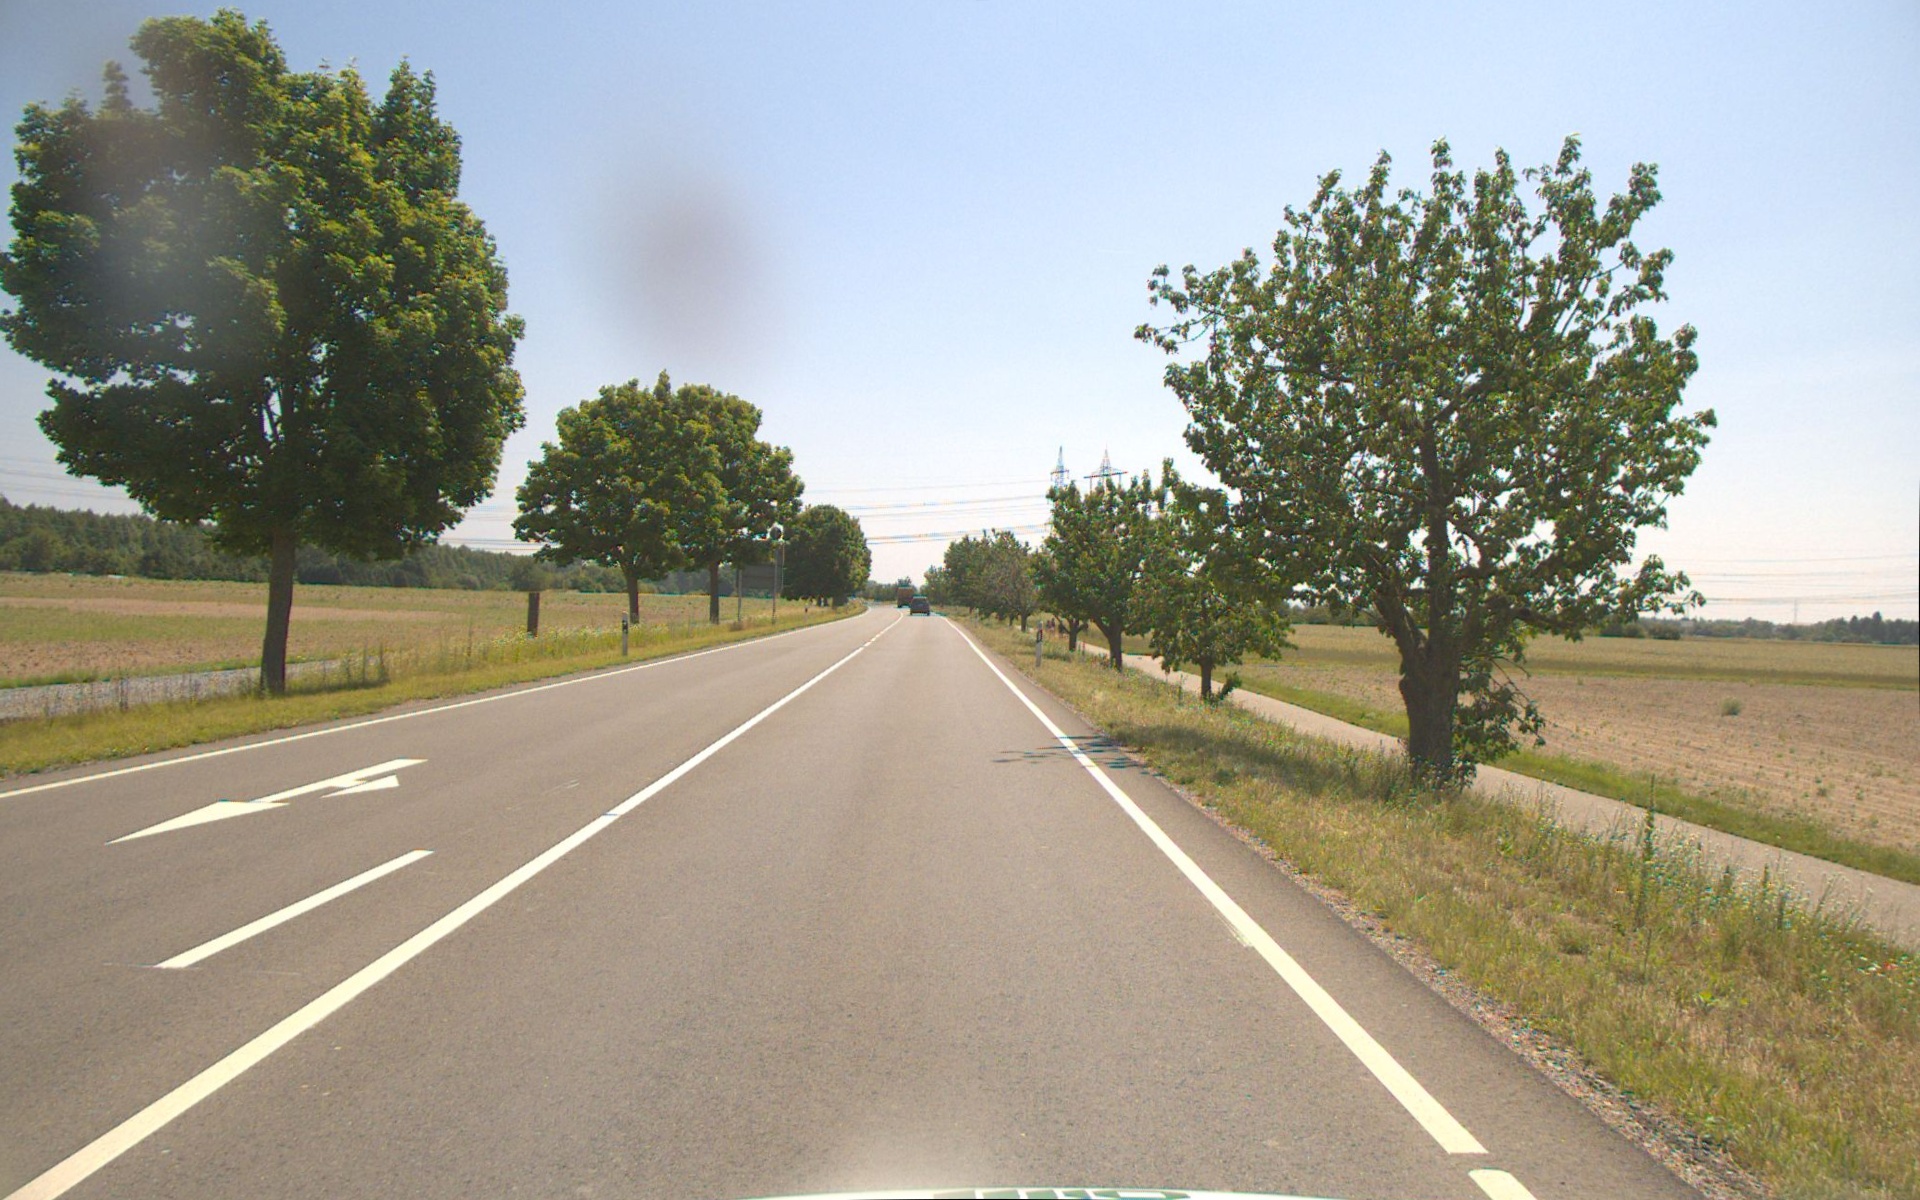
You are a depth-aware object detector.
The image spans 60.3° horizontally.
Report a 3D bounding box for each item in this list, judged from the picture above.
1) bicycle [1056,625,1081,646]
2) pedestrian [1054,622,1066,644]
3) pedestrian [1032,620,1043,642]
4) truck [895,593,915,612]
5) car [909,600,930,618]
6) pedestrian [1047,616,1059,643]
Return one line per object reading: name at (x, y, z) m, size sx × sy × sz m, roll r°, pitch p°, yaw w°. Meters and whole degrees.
bicycle at (6.887, 2.235, 105.103) m, size 1.195 × 1.185 × 2.433 m, roll 4°, pitch 0°, yaw -5°
pedestrian at (6.541, 2.136, 108.432) m, size 0.545 × 1.394 × 0.603 m, roll 4°, pitch 0°, yaw -9°
pedestrian at (5.059, 2.023, 108.257) m, size 0.545 × 1.394 × 0.603 m, roll 4°, pitch 0°, yaw -9°
truck at (-8.765, 0.327, 264.594) m, size 3.108 × 2.911 × 9.511 m, roll 1°, pitch 0°, yaw -1°
car at (-3.764, 0.808, 152.866) m, size 1.847 × 1.544 × 4.038 m, roll 4°, pitch 0°, yaw -1°
pedestrian at (6.127, 1.927, 109.243) m, size 0.545 × 1.750 × 0.603 m, roll 4°, pitch 0°, yaw -9°
